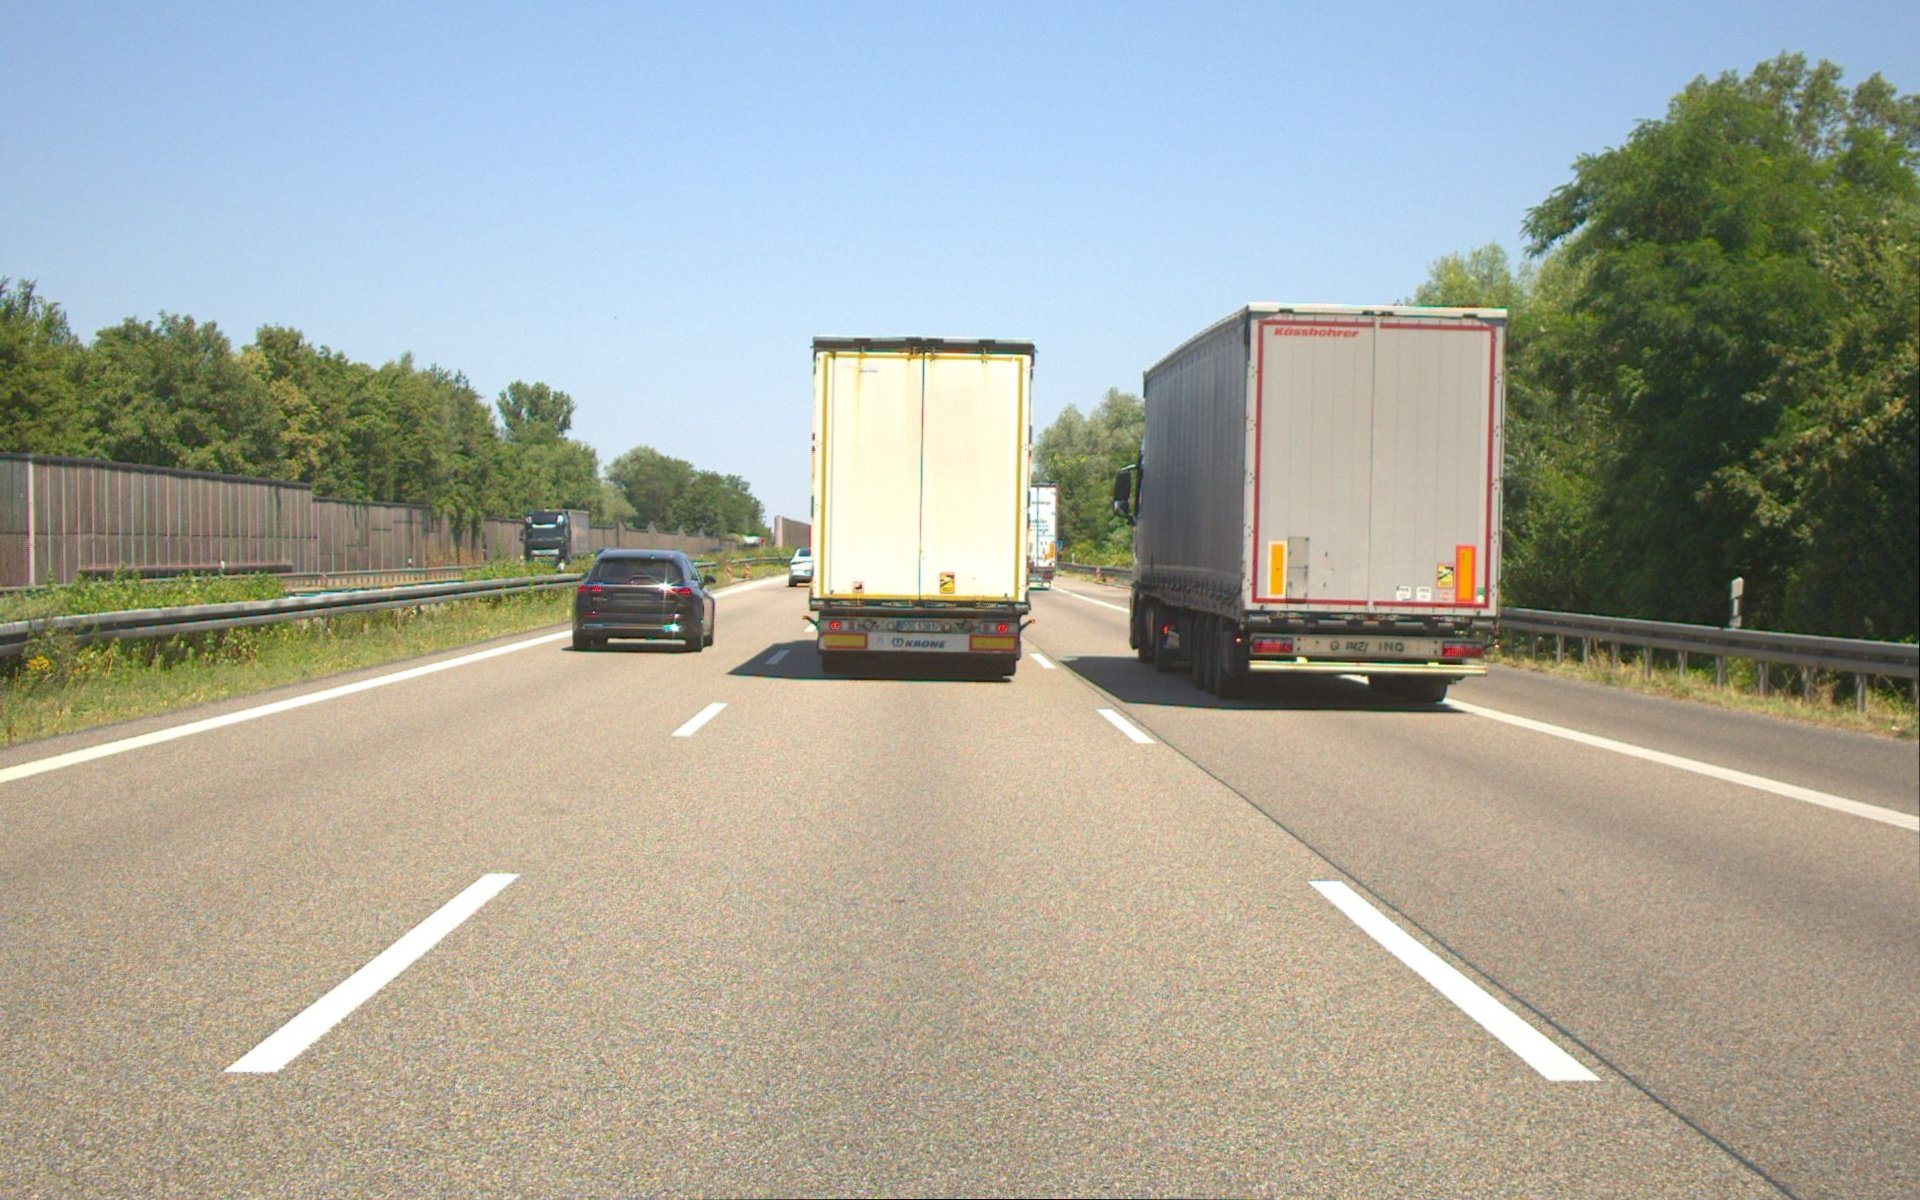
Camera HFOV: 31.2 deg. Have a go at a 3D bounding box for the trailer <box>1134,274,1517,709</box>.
[{"bbox_3d":[3.887,-1.169,39.977,2.703,4.201,13.213,-1,1,-1],"label":"trailer"}]

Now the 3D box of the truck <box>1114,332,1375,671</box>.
[{"bbox_3d":[3.727,-1.295,46.793,2.691,4.201,7.839,-1,1,-1],"label":"truck"}]

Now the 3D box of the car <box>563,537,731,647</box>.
[{"bbox_3d":[-4.631,-0.167,51.628,1.943,1.501,5.821,-1,1,0],"label":"car"}]

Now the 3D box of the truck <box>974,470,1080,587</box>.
[{"bbox_3d":[2.515,-2.798,134.305,3.374,4.289,11.451,2,1,-2],"label":"truck"}]

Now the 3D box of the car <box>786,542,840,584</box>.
[{"bbox_3d":[-5.469,-1.386,128.249,1.855,1.481,4.000,-2,1,-1],"label":"car"}]

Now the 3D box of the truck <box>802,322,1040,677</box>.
[{"bbox_3d":[-0.610,-1.280,46.367,2.707,4.071,13.475,-1,1,-1],"label":"truck"}]
